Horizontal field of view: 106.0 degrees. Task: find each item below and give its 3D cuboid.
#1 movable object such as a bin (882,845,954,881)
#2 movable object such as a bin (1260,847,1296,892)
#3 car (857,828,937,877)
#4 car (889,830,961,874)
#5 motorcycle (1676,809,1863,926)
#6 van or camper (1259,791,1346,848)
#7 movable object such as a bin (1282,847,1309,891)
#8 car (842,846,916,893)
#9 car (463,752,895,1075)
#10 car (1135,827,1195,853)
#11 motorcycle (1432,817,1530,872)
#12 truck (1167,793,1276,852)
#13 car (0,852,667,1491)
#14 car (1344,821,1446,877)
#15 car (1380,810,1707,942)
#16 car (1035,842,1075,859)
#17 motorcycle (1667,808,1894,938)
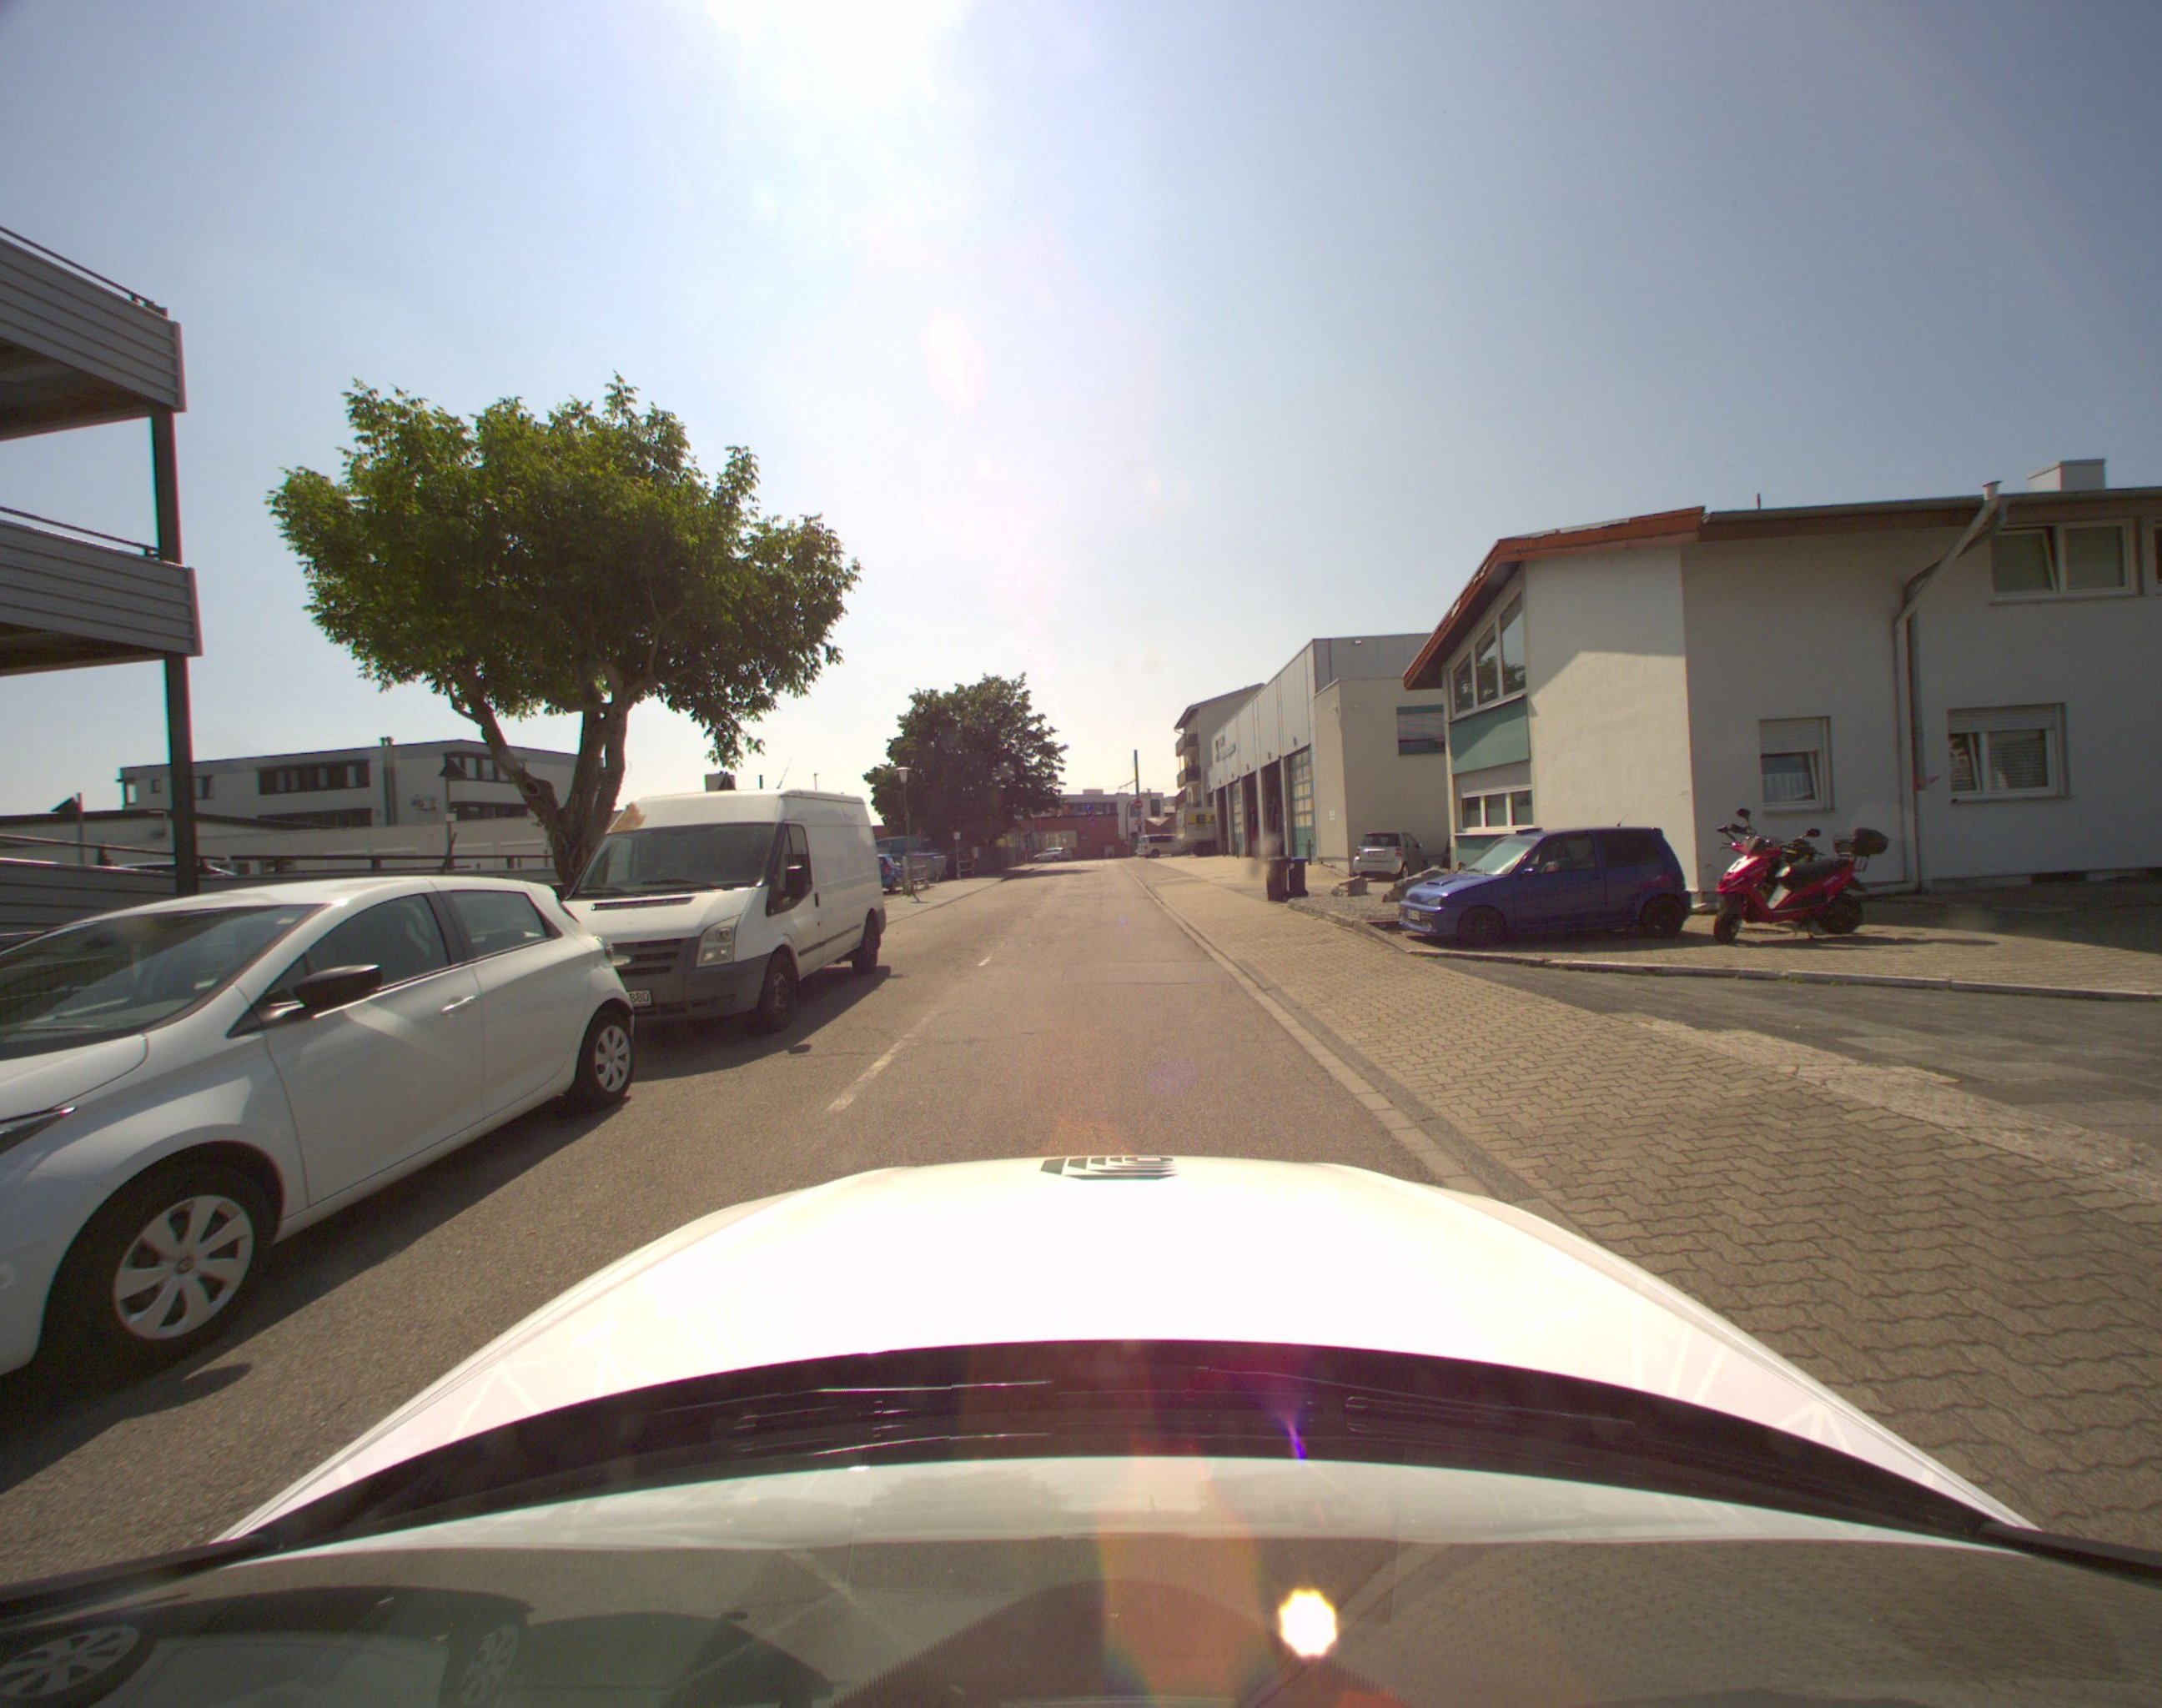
[{"bbox_3d":[-7.893,0.401,39.799,2.613,1.510,2.734,-4,1,7],"label":"movable object such as a bin"},{"bbox_3d":[4.404,0.343,18.235,0.562,0.946,0.561,-3,1,35],"label":"movable object such as a bin"},{"bbox_3d":[-10.575,-0.099,46.977,4.073,2.513,1.776,-3,1,-1],"label":"car"},{"bbox_3d":[-9.881,-0.129,51.794,4.073,2.513,1.776,-3,1,-1],"label":"car"},{"bbox_3d":[8.673,0.157,10.296,1.748,1.279,0.794,-5,0,-8],"label":"motorcycle"},{"bbox_3d":[13.785,-2.139,50.939,4.744,3.288,1.998,-3,1,-3],"label":"van or camper"},{"bbox_3d":[4.906,0.337,18.640,0.510,0.946,0.489,-4,1,12],"label":"movable object such as a bin"},{"bbox_3d":[-7.666,0.538,31.214,1.808,1.530,3.675,-4,1,0],"label":"car"},{"bbox_3d":[-3.728,0.428,8.979,1.999,2.366,5.228,-5,1,0],"label":"car"},{"bbox_3d":[7.256,-1.175,70.218,4.667,1.957,1.905,-3,1,-18],"label":"car"},{"bbox_3d":[12.728,-0.318,25.838,1.756,1.492,3.632,-3,1,43],"label":"motorcycle"},{"bbox_3d":[10.589,-2.367,61.757,7.348,3.644,2.763,-6,1,-5],"label":"truck"},{"bbox_3d":[-3.756,0.882,3.744,1.701,1.624,3.969,-6,0,-3],"label":"car"},{"bbox_3d":[10.182,-0.192,26.276,1.756,1.539,3.726,-3,1,43],"label":"car"},{"bbox_3d":[5.826,0.252,10.560,3.241,1.398,1.674,-3,1,1],"label":"car"},{"bbox_3d":[-2.663,-0.337,83.419,3.908,1.685,1.908,0,2,43],"label":"car"},{"bbox_3d":[7.938,0.202,9.301,1.864,1.279,0.796,-5,0,-2],"label":"motorcycle"}]
